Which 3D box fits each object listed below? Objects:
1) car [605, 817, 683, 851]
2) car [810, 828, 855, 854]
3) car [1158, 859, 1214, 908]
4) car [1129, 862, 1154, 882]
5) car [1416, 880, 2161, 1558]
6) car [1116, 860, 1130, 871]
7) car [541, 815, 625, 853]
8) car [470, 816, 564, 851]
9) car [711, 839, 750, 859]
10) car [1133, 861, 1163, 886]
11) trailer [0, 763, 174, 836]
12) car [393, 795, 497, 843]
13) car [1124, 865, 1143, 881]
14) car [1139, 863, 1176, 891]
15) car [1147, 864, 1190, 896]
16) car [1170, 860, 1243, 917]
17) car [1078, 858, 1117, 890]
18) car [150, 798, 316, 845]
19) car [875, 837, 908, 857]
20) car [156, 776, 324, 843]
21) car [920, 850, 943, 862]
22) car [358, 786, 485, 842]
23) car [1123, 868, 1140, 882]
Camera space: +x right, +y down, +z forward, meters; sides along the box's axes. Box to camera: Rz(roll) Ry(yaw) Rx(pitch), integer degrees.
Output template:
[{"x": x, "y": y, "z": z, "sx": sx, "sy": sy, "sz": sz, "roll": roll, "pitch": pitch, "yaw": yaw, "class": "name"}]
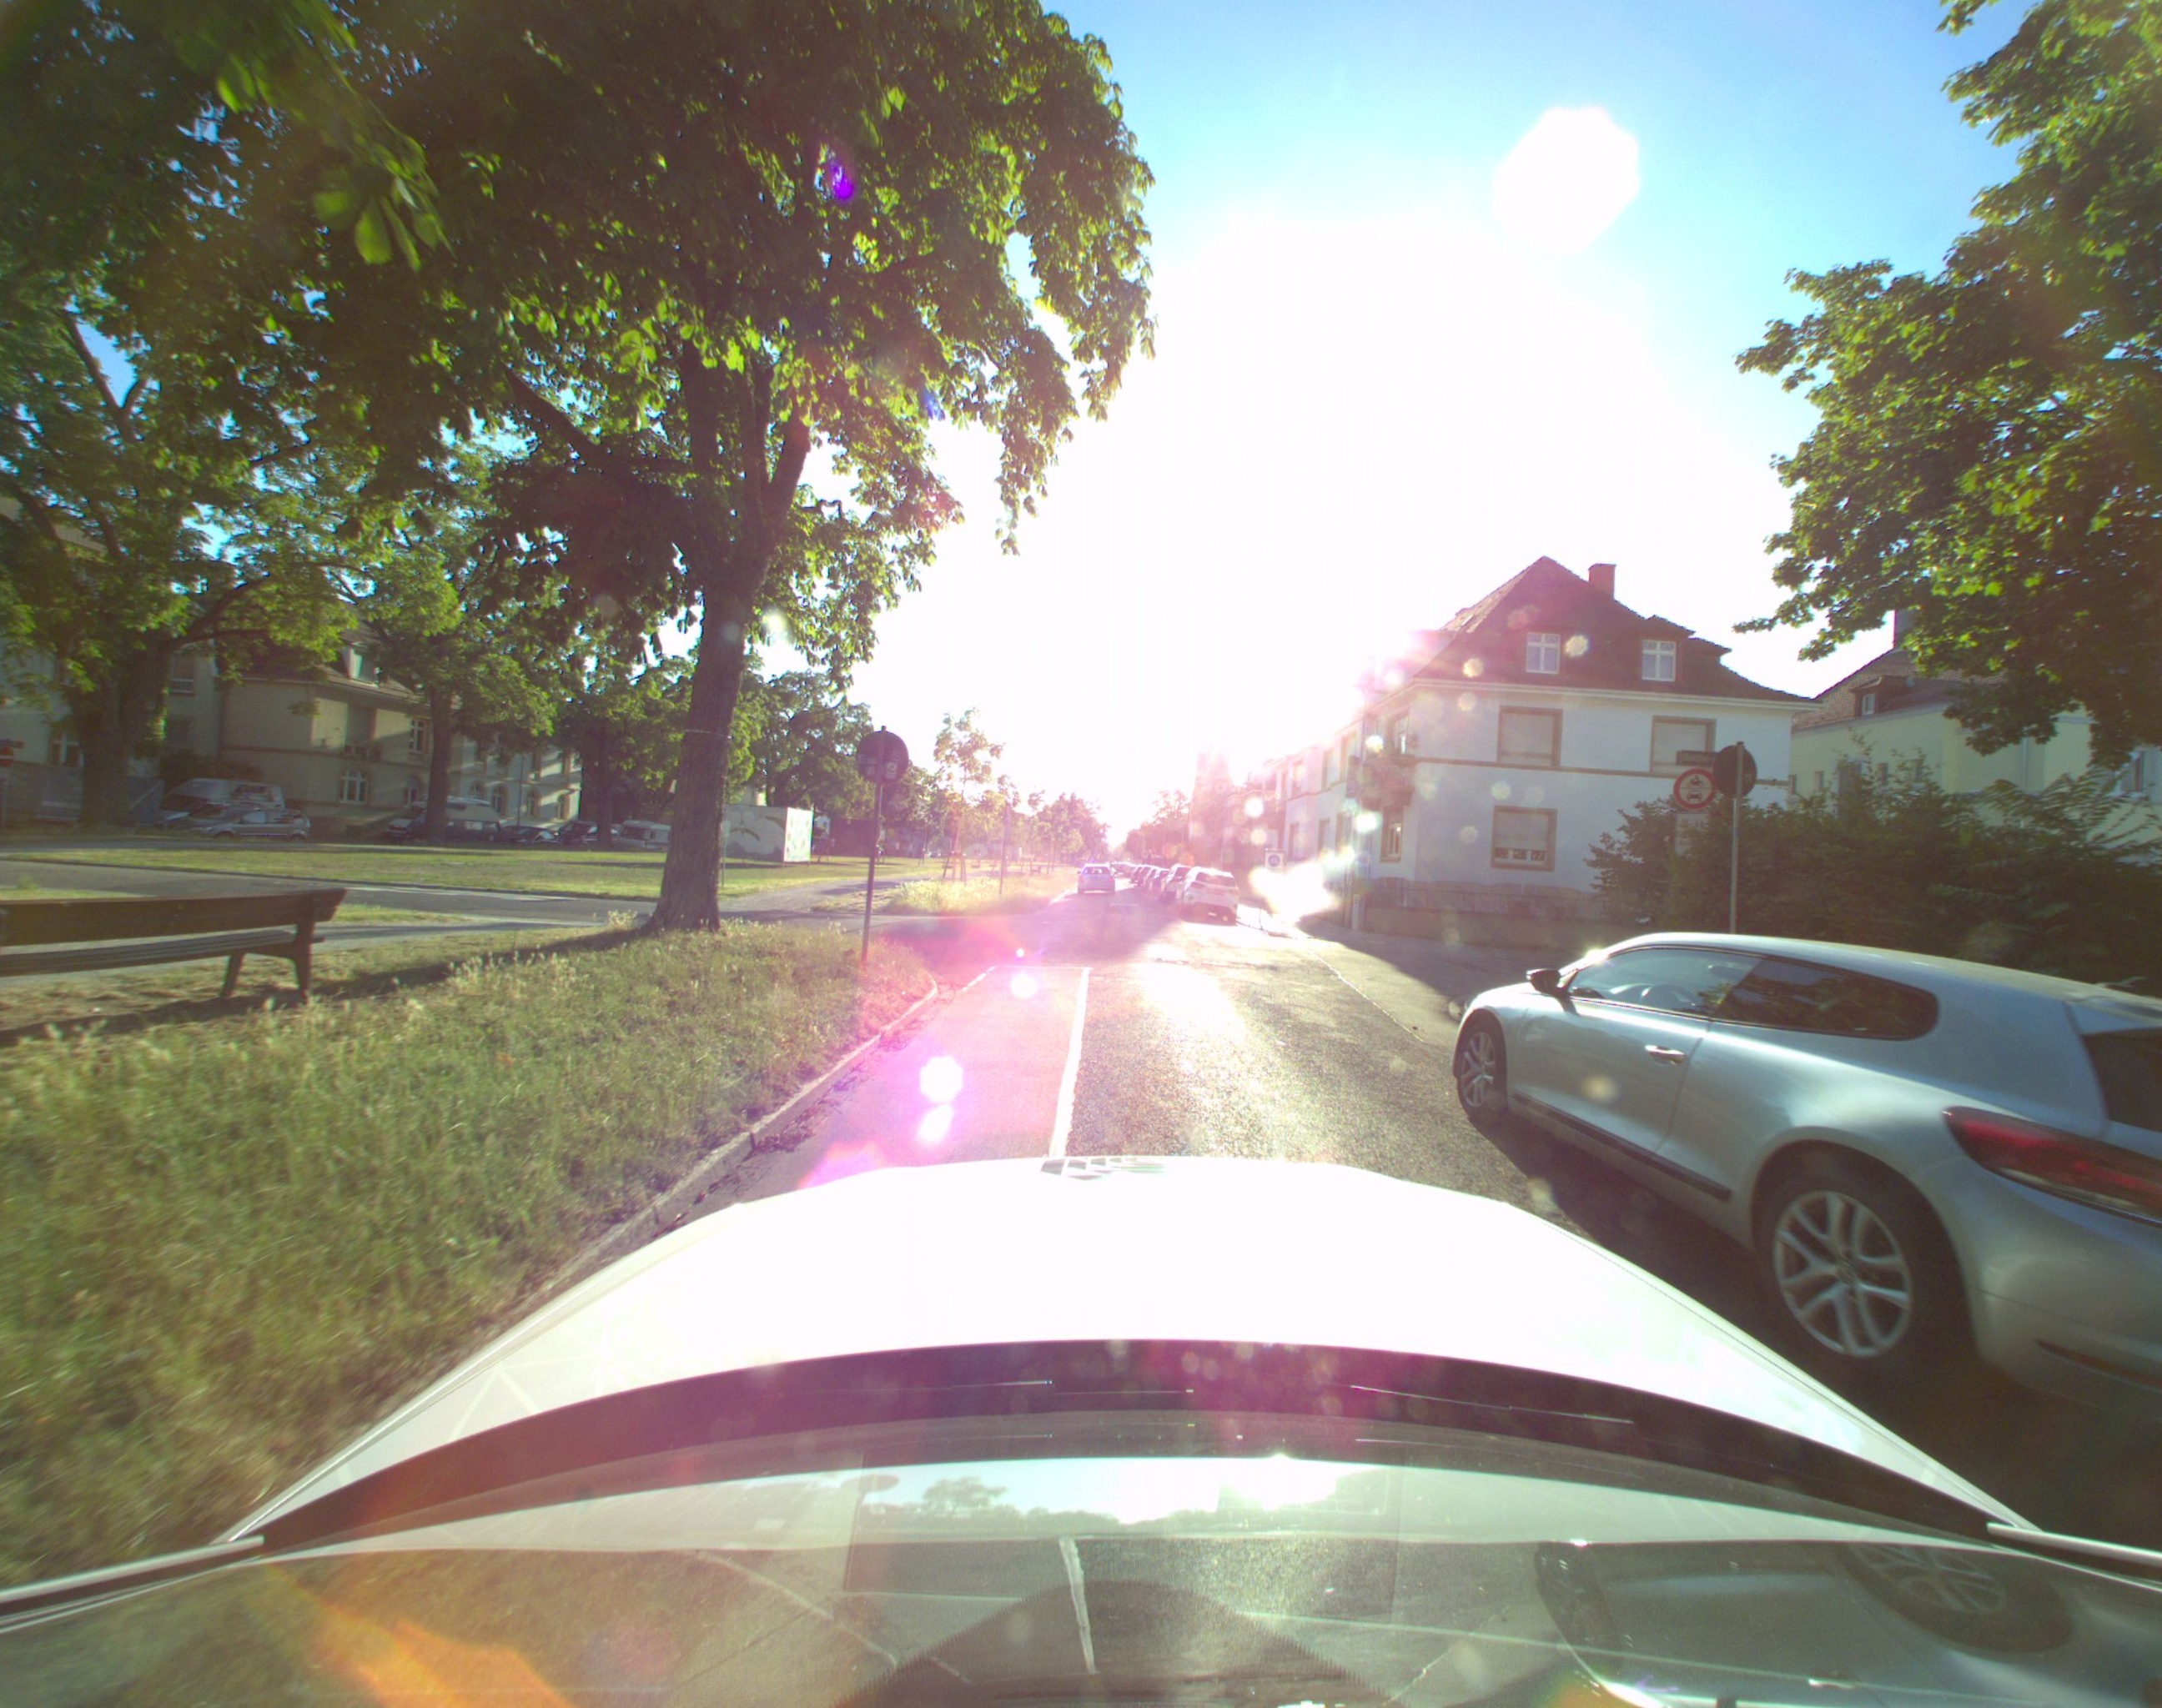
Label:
[{"x": -31.899, "y": -1.434, "z": 59.708, "sx": 2.525, "sy": 2.236, "sz": 5.462, "roll": 2, "pitch": 1, "yaw": 2, "class": "car"}, {"x": -30.636, "y": -1.507, "z": 100.655, "sx": 3.147, "sy": 2.993, "sz": 6.898, "roll": 1, "pitch": -1, "yaw": 3, "class": "car"}, {"x": 4.220, "y": 1.154, "z": 33.191, "sx": 1.679, "sy": 1.650, "sz": 4.101, "roll": 7, "pitch": 0, "yaw": 2, "class": "car"}, {"x": 5.038, "y": 1.498, "z": 68.368, "sx": 1.985, "sy": 1.464, "sz": 4.003, "roll": 3, "pitch": 0, "yaw": 3, "class": "car"}, {"x": 3.335, "y": 1.025, "z": 3.897, "sx": 1.750, "sy": 1.419, "sz": 4.074, "roll": 9, "pitch": 0, "yaw": 2, "class": "car"}, {"x": 6.647, "y": 1.825, "z": 128.985, "sx": 1.972, "sy": 1.683, "sz": 4.003, "roll": 3, "pitch": 0, "yaw": 3, "class": "car"}, {"x": -31.961, "y": -1.235, "z": 52.479, "sx": 1.986, "sy": 2.250, "sz": 5.189, "roll": 3, "pitch": 0, "yaw": 2, "class": "car"}, {"x": -32.221, "y": -1.101, "z": 46.694, "sx": 1.985, "sy": 1.793, "sz": 4.488, "roll": 3, "pitch": 0, "yaw": 3, "class": "car"}, {"x": -36.953, "y": -0.471, "z": 85.921, "sx": 1.986, "sy": 2.014, "sz": 4.486, "roll": 1, "pitch": -1, "yaw": 2, "class": "car"}, {"x": 4.730, "y": 1.349, "z": 57.663, "sx": 1.755, "sy": 1.521, "sz": 4.000, "roll": 5, "pitch": 0, "yaw": 1, "class": "car"}, {"x": -38.412, "y": -2.016, "z": 31.116, "sx": 1.986, "sy": 2.428, "sz": 4.726, "roll": 3, "pitch": 0, "yaw": 2, "class": "trailer"}, {"x": -32.304, "y": -1.715, "z": 41.532, "sx": 1.678, "sy": 2.175, "sz": 4.317, "roll": 3, "pitch": 0, "yaw": 3, "class": "car"}, {"x": 6.057, "y": 2.186, "z": 94.291, "sx": 1.985, "sy": 1.629, "sz": 4.003, "roll": 3, "pitch": 0, "yaw": 3, "class": "car"}, {"x": 4.417, "y": 1.329, "z": 47.592, "sx": 1.755, "sy": 1.420, "sz": 4.000, "roll": 4, "pitch": 0, "yaw": 1, "class": "car"}, {"x": 4.496, "y": 1.321, "z": 42.225, "sx": 1.755, "sy": 1.420, "sz": 4.000, "roll": 4, "pitch": 0, "yaw": 1, "class": "car"}, {"x": 4.091, "y": 1.077, "z": 27.182, "sx": 1.753, "sy": 1.605, "sz": 4.359, "roll": 3, "pitch": 0, "yaw": 1, "class": "car"}, {"x": 0.773, "y": 0.910, "z": 39.000, "sx": 1.755, "sy": 1.420, "sz": 4.000, "roll": 1, "pitch": 0, "yaw": 1, "class": "car"}, {"x": -32.536, "y": -1.188, "z": 31.442, "sx": 1.678, "sy": 1.559, "sz": 4.317, "roll": 3, "pitch": 0, "yaw": 3, "class": "car"}, {"x": -29.735, "y": -1.002, "z": 127.885, "sx": 3.147, "sy": 2.993, "sz": 6.898, "roll": 1, "pitch": -1, "yaw": 3, "class": "car"}, {"x": -38.225, "y": -1.943, "z": 37.270, "sx": 1.986, "sy": 2.672, "sz": 5.189, "roll": 3, "pitch": 0, "yaw": 2, "class": "car"}, {"x": -29.615, "y": 0.396, "z": 161.707, "sx": 3.147, "sy": 2.148, "sz": 6.114, "roll": 1, "pitch": 0, "yaw": 3, "class": "car"}, {"x": -38.124, "y": -2.225, "z": 47.344, "sx": 2.428, "sy": 2.922, "sz": 5.820, "roll": 1, "pitch": -1, "yaw": 2, "class": "car"}, {"x": 6.235, "y": 2.583, "z": 100.806, "sx": 1.985, "sy": 1.629, "sz": 4.003, "roll": 3, "pitch": 0, "yaw": 3, "class": "car"}]
